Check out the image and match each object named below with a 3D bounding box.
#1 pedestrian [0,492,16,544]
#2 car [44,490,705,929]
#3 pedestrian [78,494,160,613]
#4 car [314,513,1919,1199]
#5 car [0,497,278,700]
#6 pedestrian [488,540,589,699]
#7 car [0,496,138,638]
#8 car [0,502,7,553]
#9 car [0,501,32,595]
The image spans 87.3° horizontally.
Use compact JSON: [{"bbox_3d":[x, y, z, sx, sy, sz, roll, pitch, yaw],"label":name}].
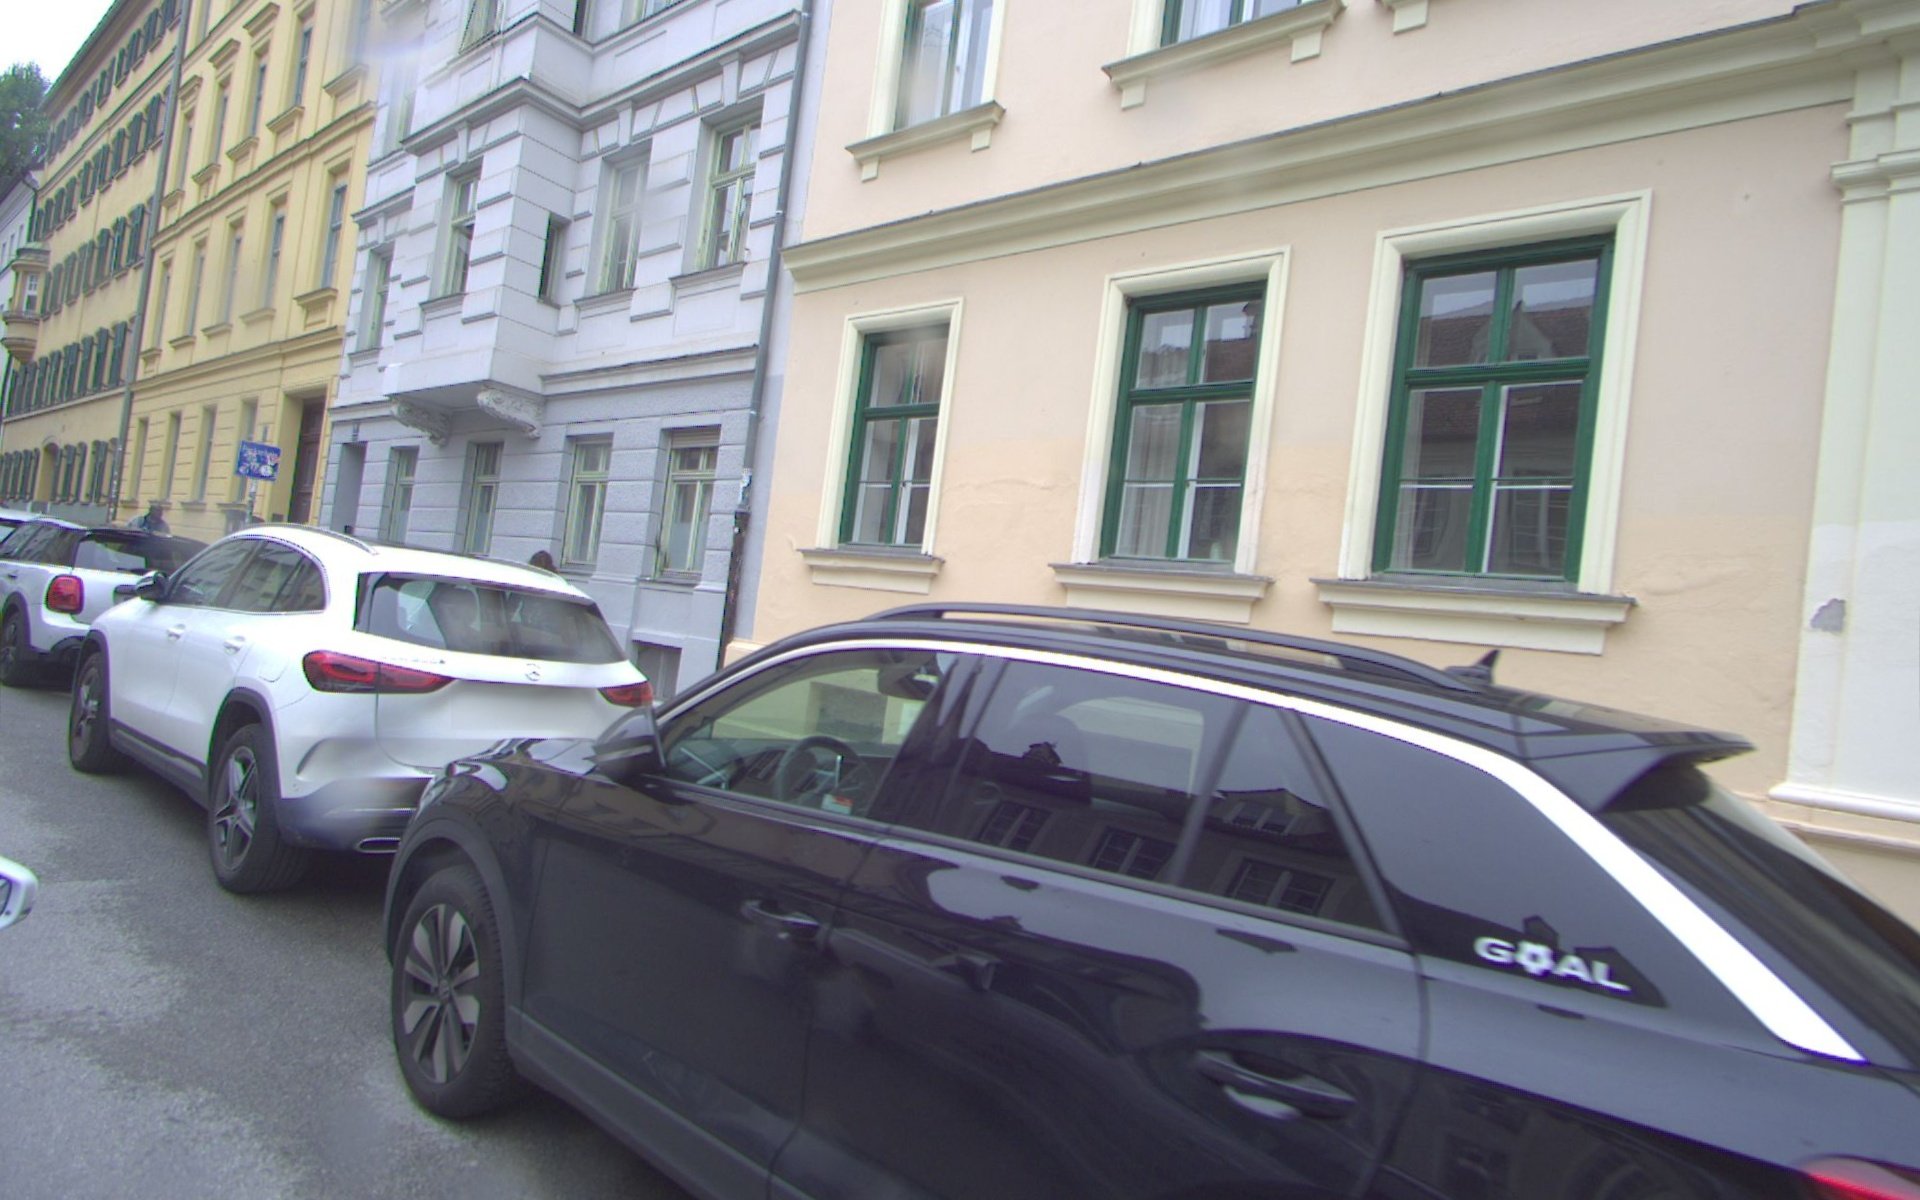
[{"bbox_3d":[-31.638,-2.726,33.123,0.883,1.660,0.596,7,2,37],"label":"pedestrian"},{"bbox_3d":[-3.605,0.373,5.841,4.258,1.619,1.718,6,-2,38],"label":"car"},{"bbox_3d":[-14.283,-0.794,17.090,0.793,1.883,0.702,7,-2,37],"label":"pedestrian"},{"bbox_3d":[0.099,0.766,2.611,4.083,1.584,1.717,6,-2,40],"label":"car"},{"bbox_3d":[-8.473,-0.096,9.753,3.875,1.527,1.719,6,-2,36],"label":"car"},{"bbox_3d":[-4.460,0.215,10.651,0.616,1.594,0.644,7,1,40],"label":"pedestrian"},{"bbox_3d":[-12.589,-0.568,13.302,4.404,1.527,1.717,6,-2,40],"label":"car"},{"bbox_3d":[-21.203,-1.450,20.477,4.518,1.527,1.817,6,-2,37],"label":"car"},{"bbox_3d":[-17.637,-1.084,17.436,3.706,1.527,1.624,6,-2,39],"label":"car"}]
